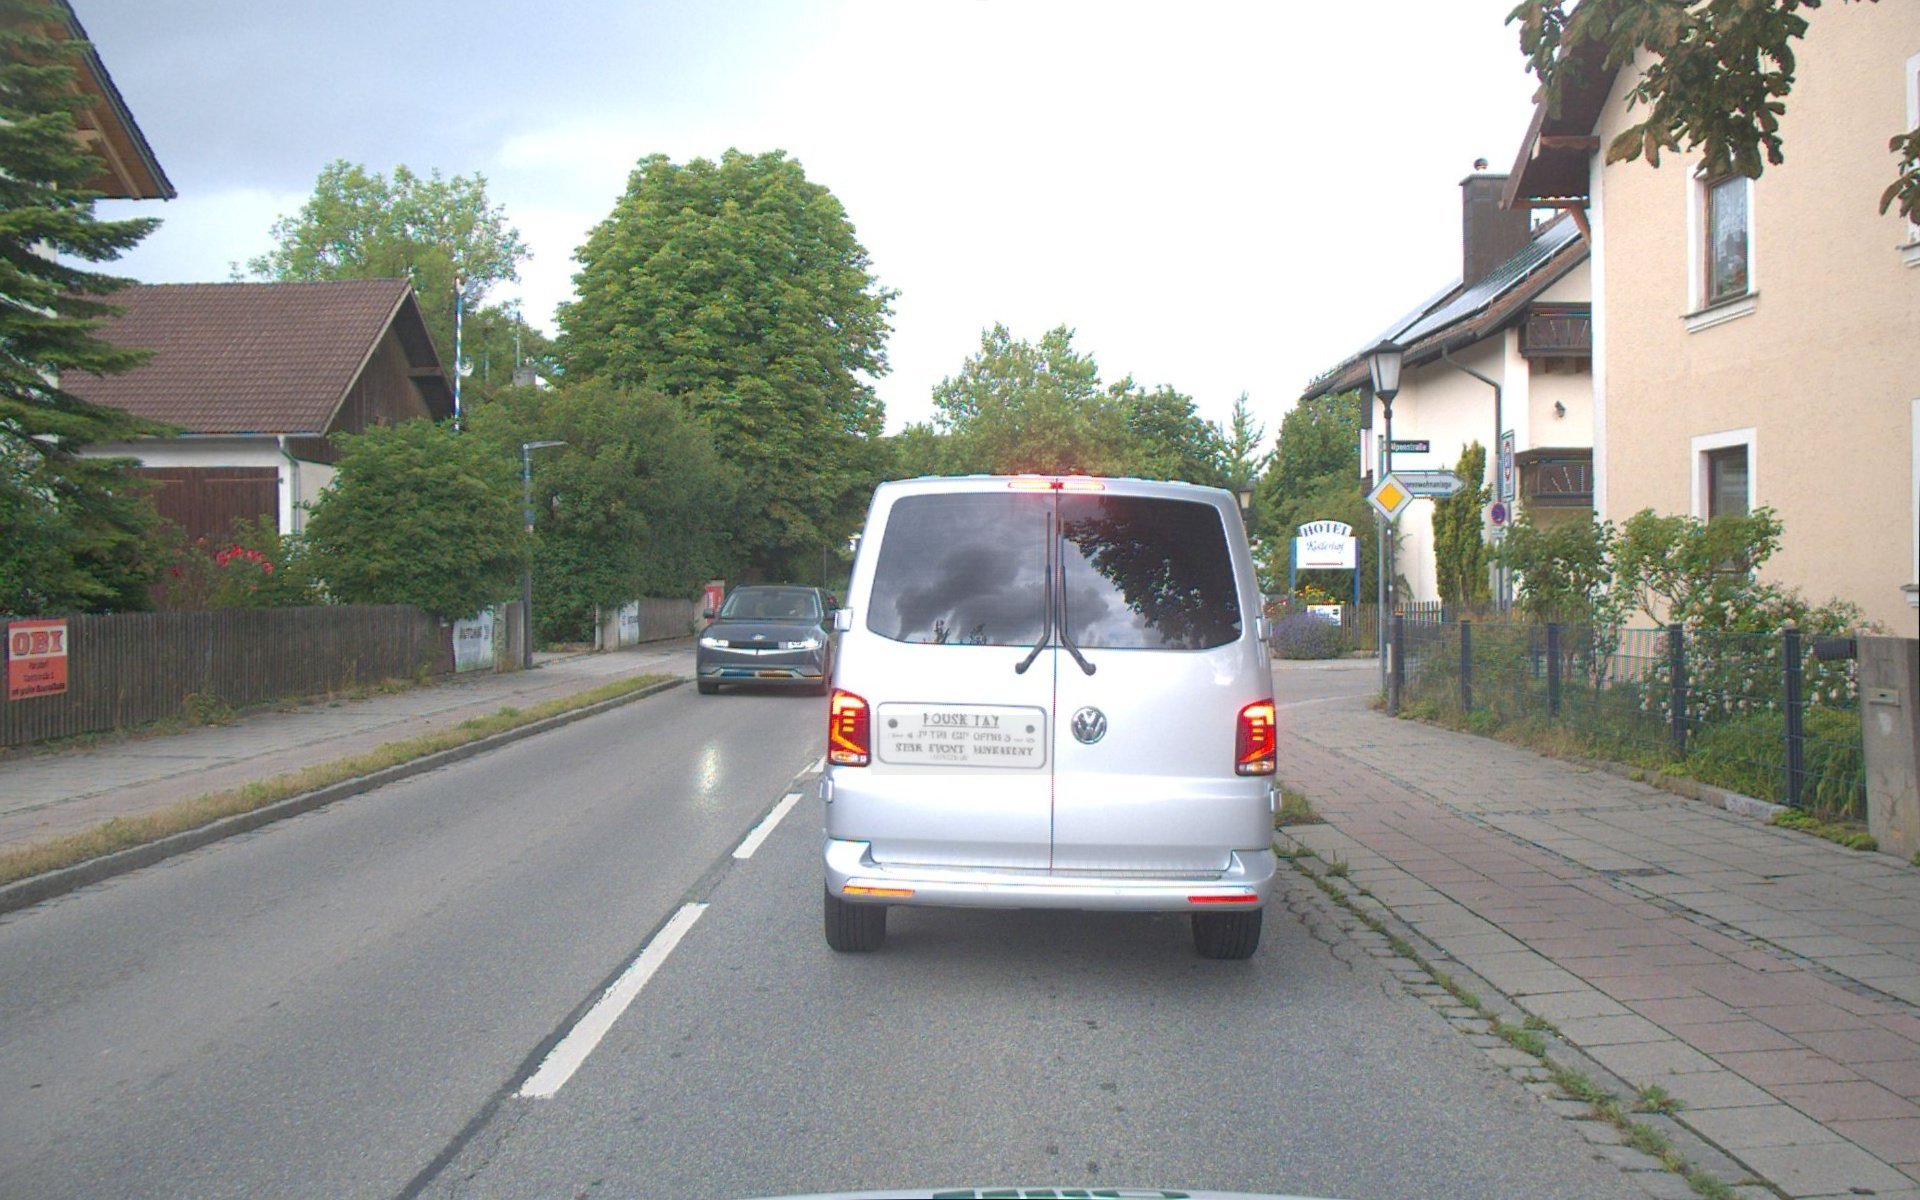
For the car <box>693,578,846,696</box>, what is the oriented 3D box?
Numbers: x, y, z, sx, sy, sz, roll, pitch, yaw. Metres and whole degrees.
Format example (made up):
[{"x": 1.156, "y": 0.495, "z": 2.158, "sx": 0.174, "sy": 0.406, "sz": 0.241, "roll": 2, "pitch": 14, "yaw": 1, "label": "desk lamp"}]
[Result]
[{"x": -2.801, "y": 0.506, "z": 25.193, "sx": 1.891, "sy": 1.602, "sz": 4.311, "roll": 1, "pitch": 0, "yaw": -1, "label": "car"}]

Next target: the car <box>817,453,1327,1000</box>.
[{"x": 0.421, "y": 0.450, "z": 7.957, "sx": 1.842, "sy": 1.974, "sz": 3.921, "roll": 0, "pitch": 0, "yaw": 0, "label": "car"}]

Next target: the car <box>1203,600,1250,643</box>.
[{"x": 12.118, "y": 0.948, "z": 75.082, "sx": 1.841, "sy": 1.857, "sz": 3.924, "roll": 0, "pitch": 0, "yaw": 13, "label": "car"}]

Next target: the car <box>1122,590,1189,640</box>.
[{"x": 6.362, "y": 0.470, "z": 53.613, "sx": 1.841, "sy": 1.562, "sz": 3.924, "roll": 0, "pitch": 0, "yaw": 11, "label": "car"}]

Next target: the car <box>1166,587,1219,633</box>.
[{"x": 9.386, "y": 0.392, "z": 66.537, "sx": 1.841, "sy": 1.779, "sz": 4.084, "roll": 0, "pitch": 0, "yaw": 12, "label": "car"}]

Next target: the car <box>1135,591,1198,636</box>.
[{"x": 7.446, "y": 0.469, "z": 59.479, "sx": 1.841, "sy": 1.562, "sz": 3.924, "roll": 0, "pitch": 0, "yaw": 13, "label": "car"}]
